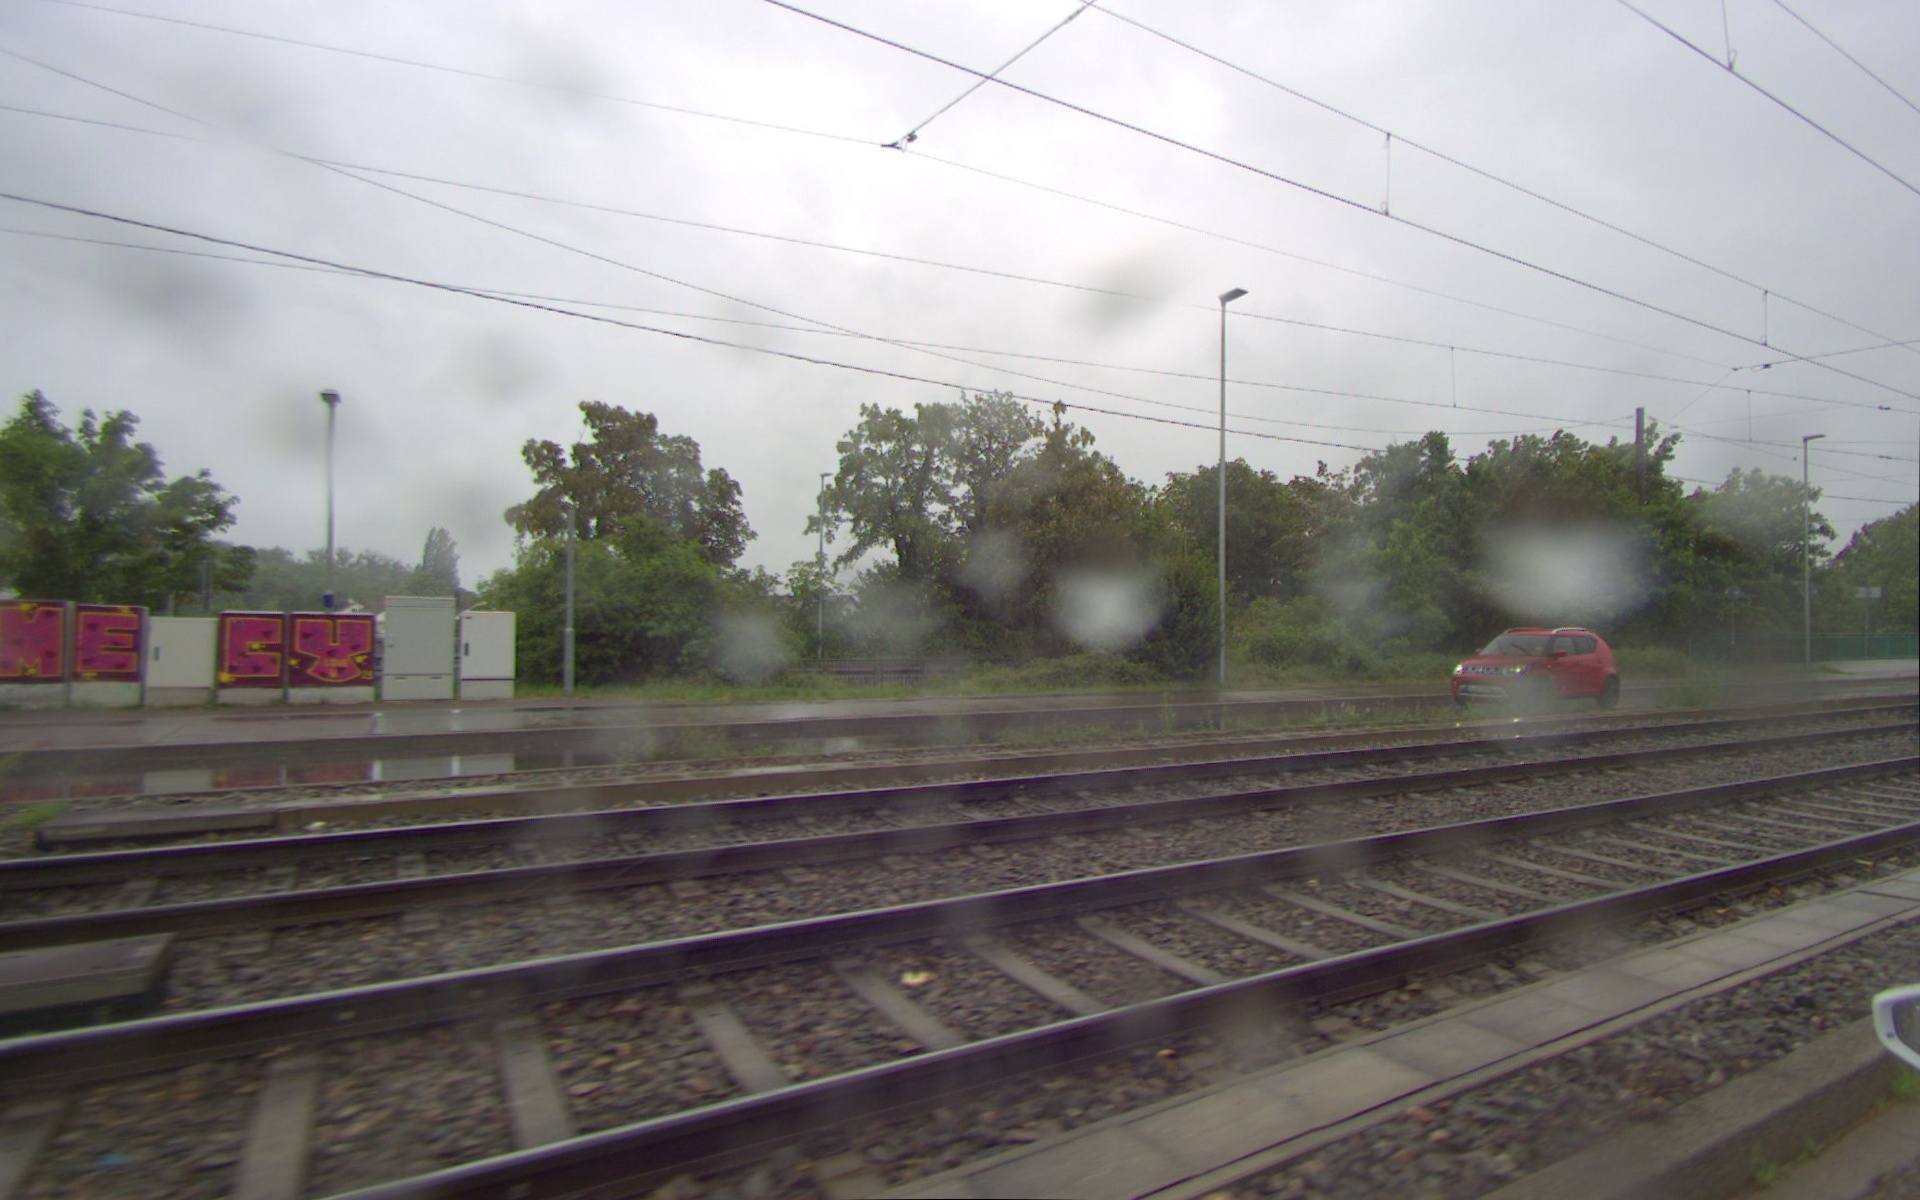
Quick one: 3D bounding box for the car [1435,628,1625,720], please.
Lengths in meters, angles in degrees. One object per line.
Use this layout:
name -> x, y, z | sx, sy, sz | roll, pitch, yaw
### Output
car -> 11.405, 1.436, 20.056 | 3.609, 1.622, 1.715 | 2, 0, -31
